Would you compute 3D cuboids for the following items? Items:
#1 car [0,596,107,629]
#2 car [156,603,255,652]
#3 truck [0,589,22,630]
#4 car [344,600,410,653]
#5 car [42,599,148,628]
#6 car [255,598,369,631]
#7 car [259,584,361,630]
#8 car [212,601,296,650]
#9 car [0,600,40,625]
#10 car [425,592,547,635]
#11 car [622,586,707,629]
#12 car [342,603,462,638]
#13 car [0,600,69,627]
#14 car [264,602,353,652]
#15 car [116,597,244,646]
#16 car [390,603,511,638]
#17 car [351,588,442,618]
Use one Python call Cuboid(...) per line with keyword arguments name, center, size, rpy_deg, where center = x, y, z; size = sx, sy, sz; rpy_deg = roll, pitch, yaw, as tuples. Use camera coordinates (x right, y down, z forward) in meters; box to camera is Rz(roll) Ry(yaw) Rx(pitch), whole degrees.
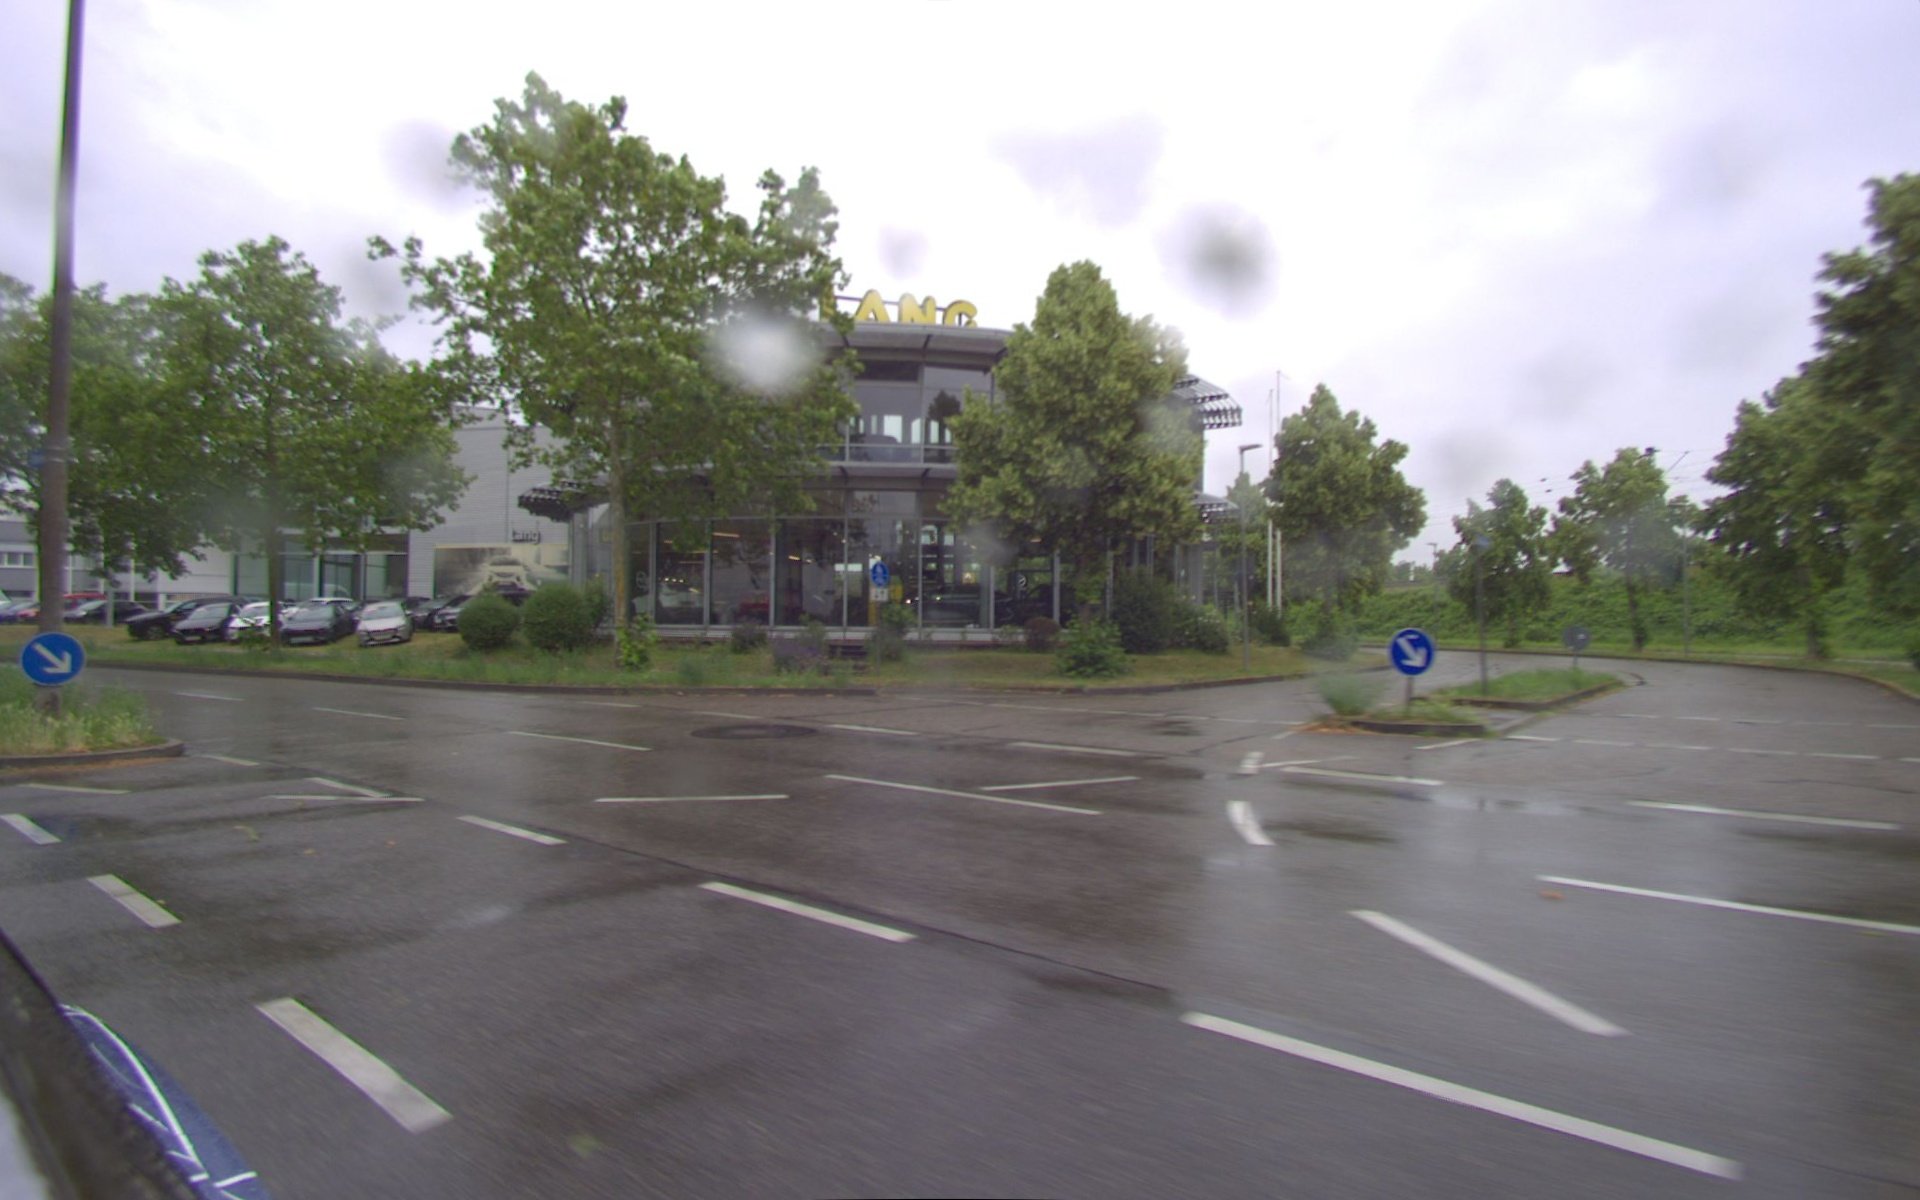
Cuboid(name="car", center=(-49.462, 0.660, 55.273), size=(1.832, 1.568, 3.986), rpy_deg=(-2, 1, 17))
Cuboid(name="car", center=(-32.030, 1.123, 43.115), size=(1.817, 1.489, 4.142), rpy_deg=(-5, 6, -13))
Cuboid(name="truck", center=(-58.087, 0.643, 59.067), size=(6.145, 2.362, 2.240), rpy_deg=(-2, 1, 19))
Cuboid(name="car", center=(-21.876, 0.942, 38.096), size=(1.754, 1.486, 4.014), rpy_deg=(-6, 6, -26))
Cuboid(name="car", center=(-46.697, 0.713, 54.753), size=(1.832, 1.367, 3.986), rpy_deg=(-2, 1, 17))
Cuboid(name="car", center=(-30.336, 0.694, 47.555), size=(1.902, 1.485, 4.414), rpy_deg=(0, -1, 15))
Cuboid(name="car", center=(-40.587, 0.423, 63.355), size=(5.247, 2.773, 2.177), rpy_deg=(-1, 0, -31))
Cuboid(name="car", center=(-29.280, 1.020, 42.115), size=(1.816, 1.489, 4.145), rpy_deg=(-5, 6, -21))
Cuboid(name="car", center=(-54.224, 0.747, 56.717), size=(1.753, 1.336, 3.514), rpy_deg=(-2, 1, 17))
Cuboid(name="car", center=(-20.274, 0.594, 43.403), size=(1.920, 1.751, 4.373), rpy_deg=(-1, -1, 43))
Cuboid(name="car", center=(-10.873, 0.305, 37.042), size=(1.755, 1.487, 4.123), rpy_deg=(1, -1, -35))
Cuboid(name="car", center=(-24.974, 0.918, 45.390), size=(1.920, 1.485, 4.373), rpy_deg=(-1, -1, 43))
Cuboid(name="car", center=(-51.874, 0.755, 55.942), size=(1.753, 1.336, 3.514), rpy_deg=(-2, 1, 17))
Cuboid(name="car", center=(-25.584, 1.007, 39.881), size=(1.816, 1.432, 4.144), rpy_deg=(-5, 6, -18))
Cuboid(name="car", center=(-35.177, 0.928, 45.752), size=(4.367, 1.568, 1.851), rpy_deg=(-8, 7, -38))
Cuboid(name="car", center=(-22.371, 0.891, 44.507), size=(1.920, 1.485, 4.373), rpy_deg=(-1, -1, 43))
Cuboid(name="car", center=(-29.440, 0.195, 53.057), size=(1.898, 1.485, 4.424), rpy_deg=(0, -1, 9))
